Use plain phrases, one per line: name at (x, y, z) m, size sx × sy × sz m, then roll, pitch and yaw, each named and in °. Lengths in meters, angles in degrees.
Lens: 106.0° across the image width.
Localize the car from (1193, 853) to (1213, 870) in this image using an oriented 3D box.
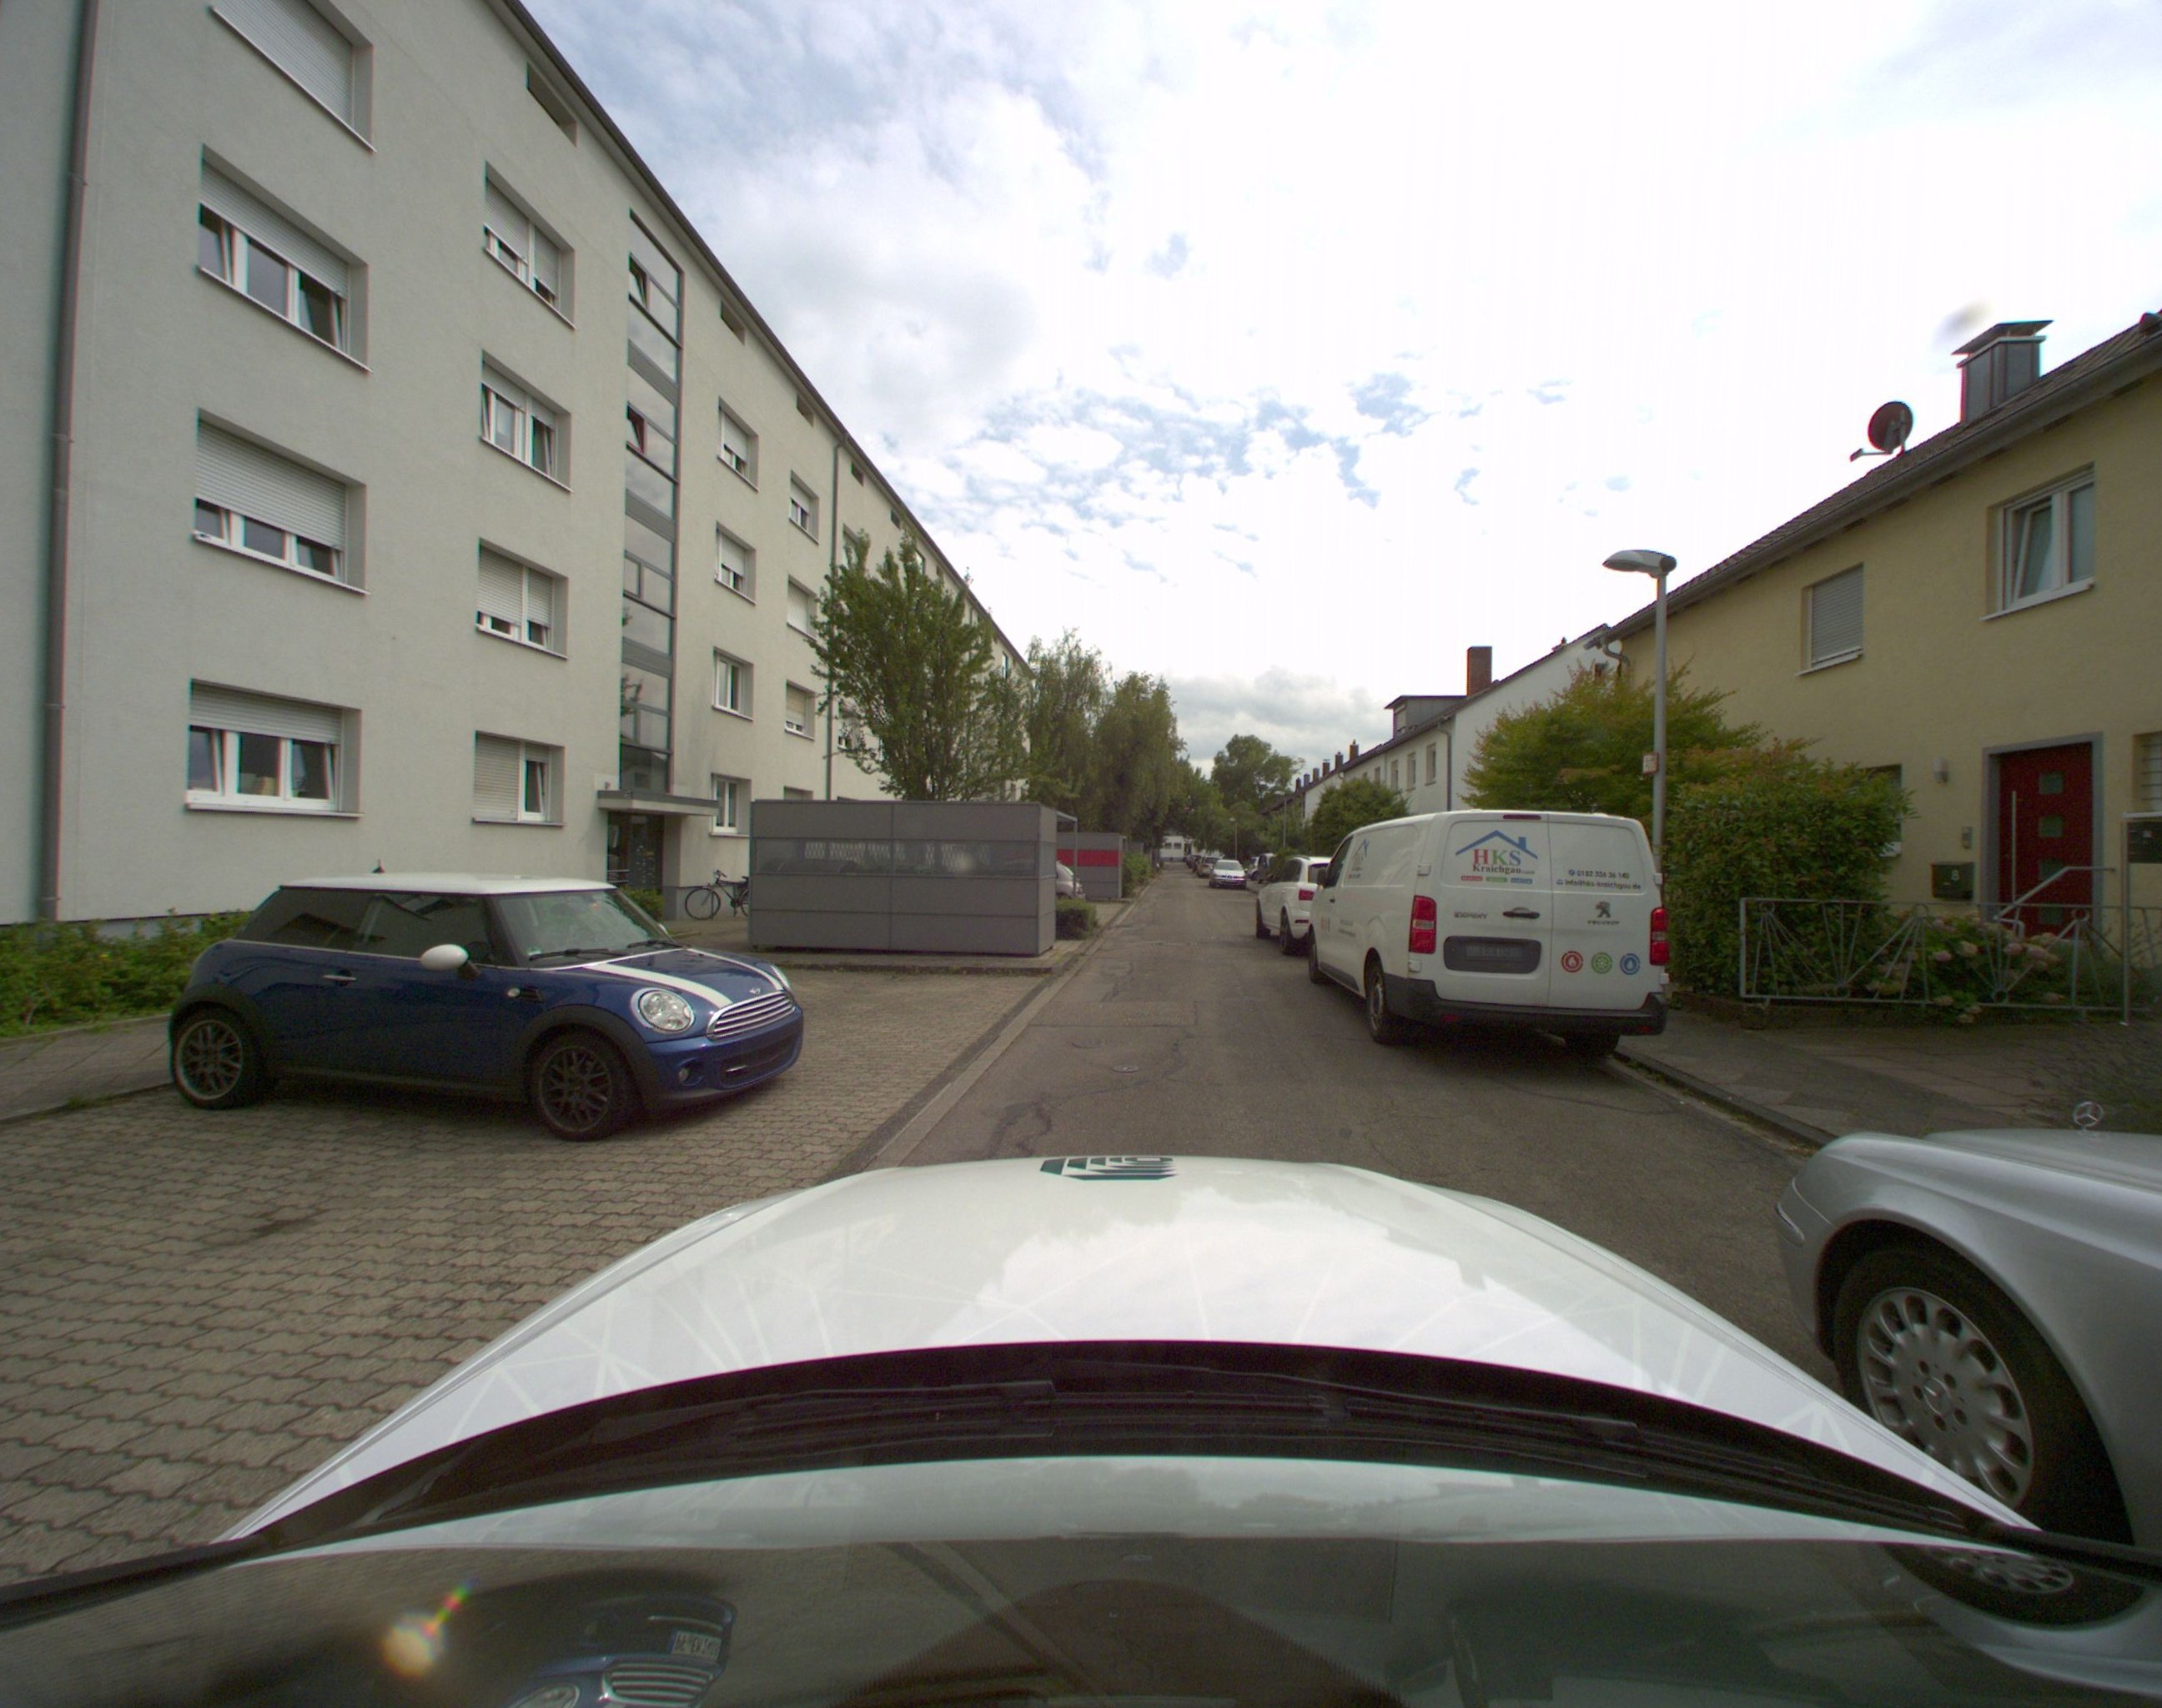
car at (11.935, 0.702, 79.855) m, size 1.815 × 1.581 × 4.201 m, roll 2°, pitch 0°, yaw 7°

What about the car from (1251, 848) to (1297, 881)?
car at (11.236, 0.596, 47.651) m, size 1.817 × 1.777 × 4.344 m, roll -2°, pitch -1°, yaw 3°

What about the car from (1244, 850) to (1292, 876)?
car at (12.201, 0.581, 53.332) m, size 2.804 × 1.569 × 1.743 m, roll -2°, pitch 0°, yaw 4°

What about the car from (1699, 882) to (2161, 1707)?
car at (2.584, 0.822, 0.329) m, size 1.773 × 1.421 × 4.466 m, roll 2°, pitch 0°, yaw 8°

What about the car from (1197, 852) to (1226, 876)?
car at (9.521, 0.698, 59.713) m, size 1.816 × 1.581 × 4.006 m, roll 2°, pitch 0°, yaw 5°

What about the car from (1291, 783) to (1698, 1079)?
car at (3.499, 0.516, 8.220) m, size 1.894 × 1.964 × 5.262 m, roll 2°, pitch 0°, yaw 6°

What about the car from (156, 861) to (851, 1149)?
car at (-3.612, 0.805, 5.410) m, size 3.613 × 1.461 × 1.657 m, roll 1°, pitch 0°, yaw 10°

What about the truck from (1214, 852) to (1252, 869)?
truck at (18.210, 0.776, 97.626) m, size 4.368 × 2.014 × 2.003 m, roll -1°, pitch -1°, yaw 6°

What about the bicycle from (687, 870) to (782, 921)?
bicycle at (-7.426, 0.866, 17.489) m, size 1.818 × 1.026 × 0.474 m, roll 0°, pitch 0°, yaw -34°

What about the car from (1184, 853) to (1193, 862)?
car at (20.757, 0.624, 157.305) m, size 1.815 × 1.581 × 4.008 m, roll 2°, pitch 0°, yaw 7°

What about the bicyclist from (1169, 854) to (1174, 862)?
bicyclist at (16.161, 0.714, 144.955) m, size 0.794 × 1.511 × 0.936 m, roll 2°, pitch 0°, yaw 9°

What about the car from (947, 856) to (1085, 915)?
car at (-1.709, 0.833, 22.241) m, size 3.548 × 1.480 × 1.711 m, roll -1°, pitch 0°, yaw 2°

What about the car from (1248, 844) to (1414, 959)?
car at (4.096, 0.695, 14.060) m, size 1.817 × 1.635 × 4.166 m, roll 2°, pitch 0°, yaw 4°

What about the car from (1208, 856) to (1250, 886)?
car at (7.473, 0.821, 41.353) m, size 1.815 × 1.370 × 4.339 m, roll 2°, pitch 0°, yaw 7°
